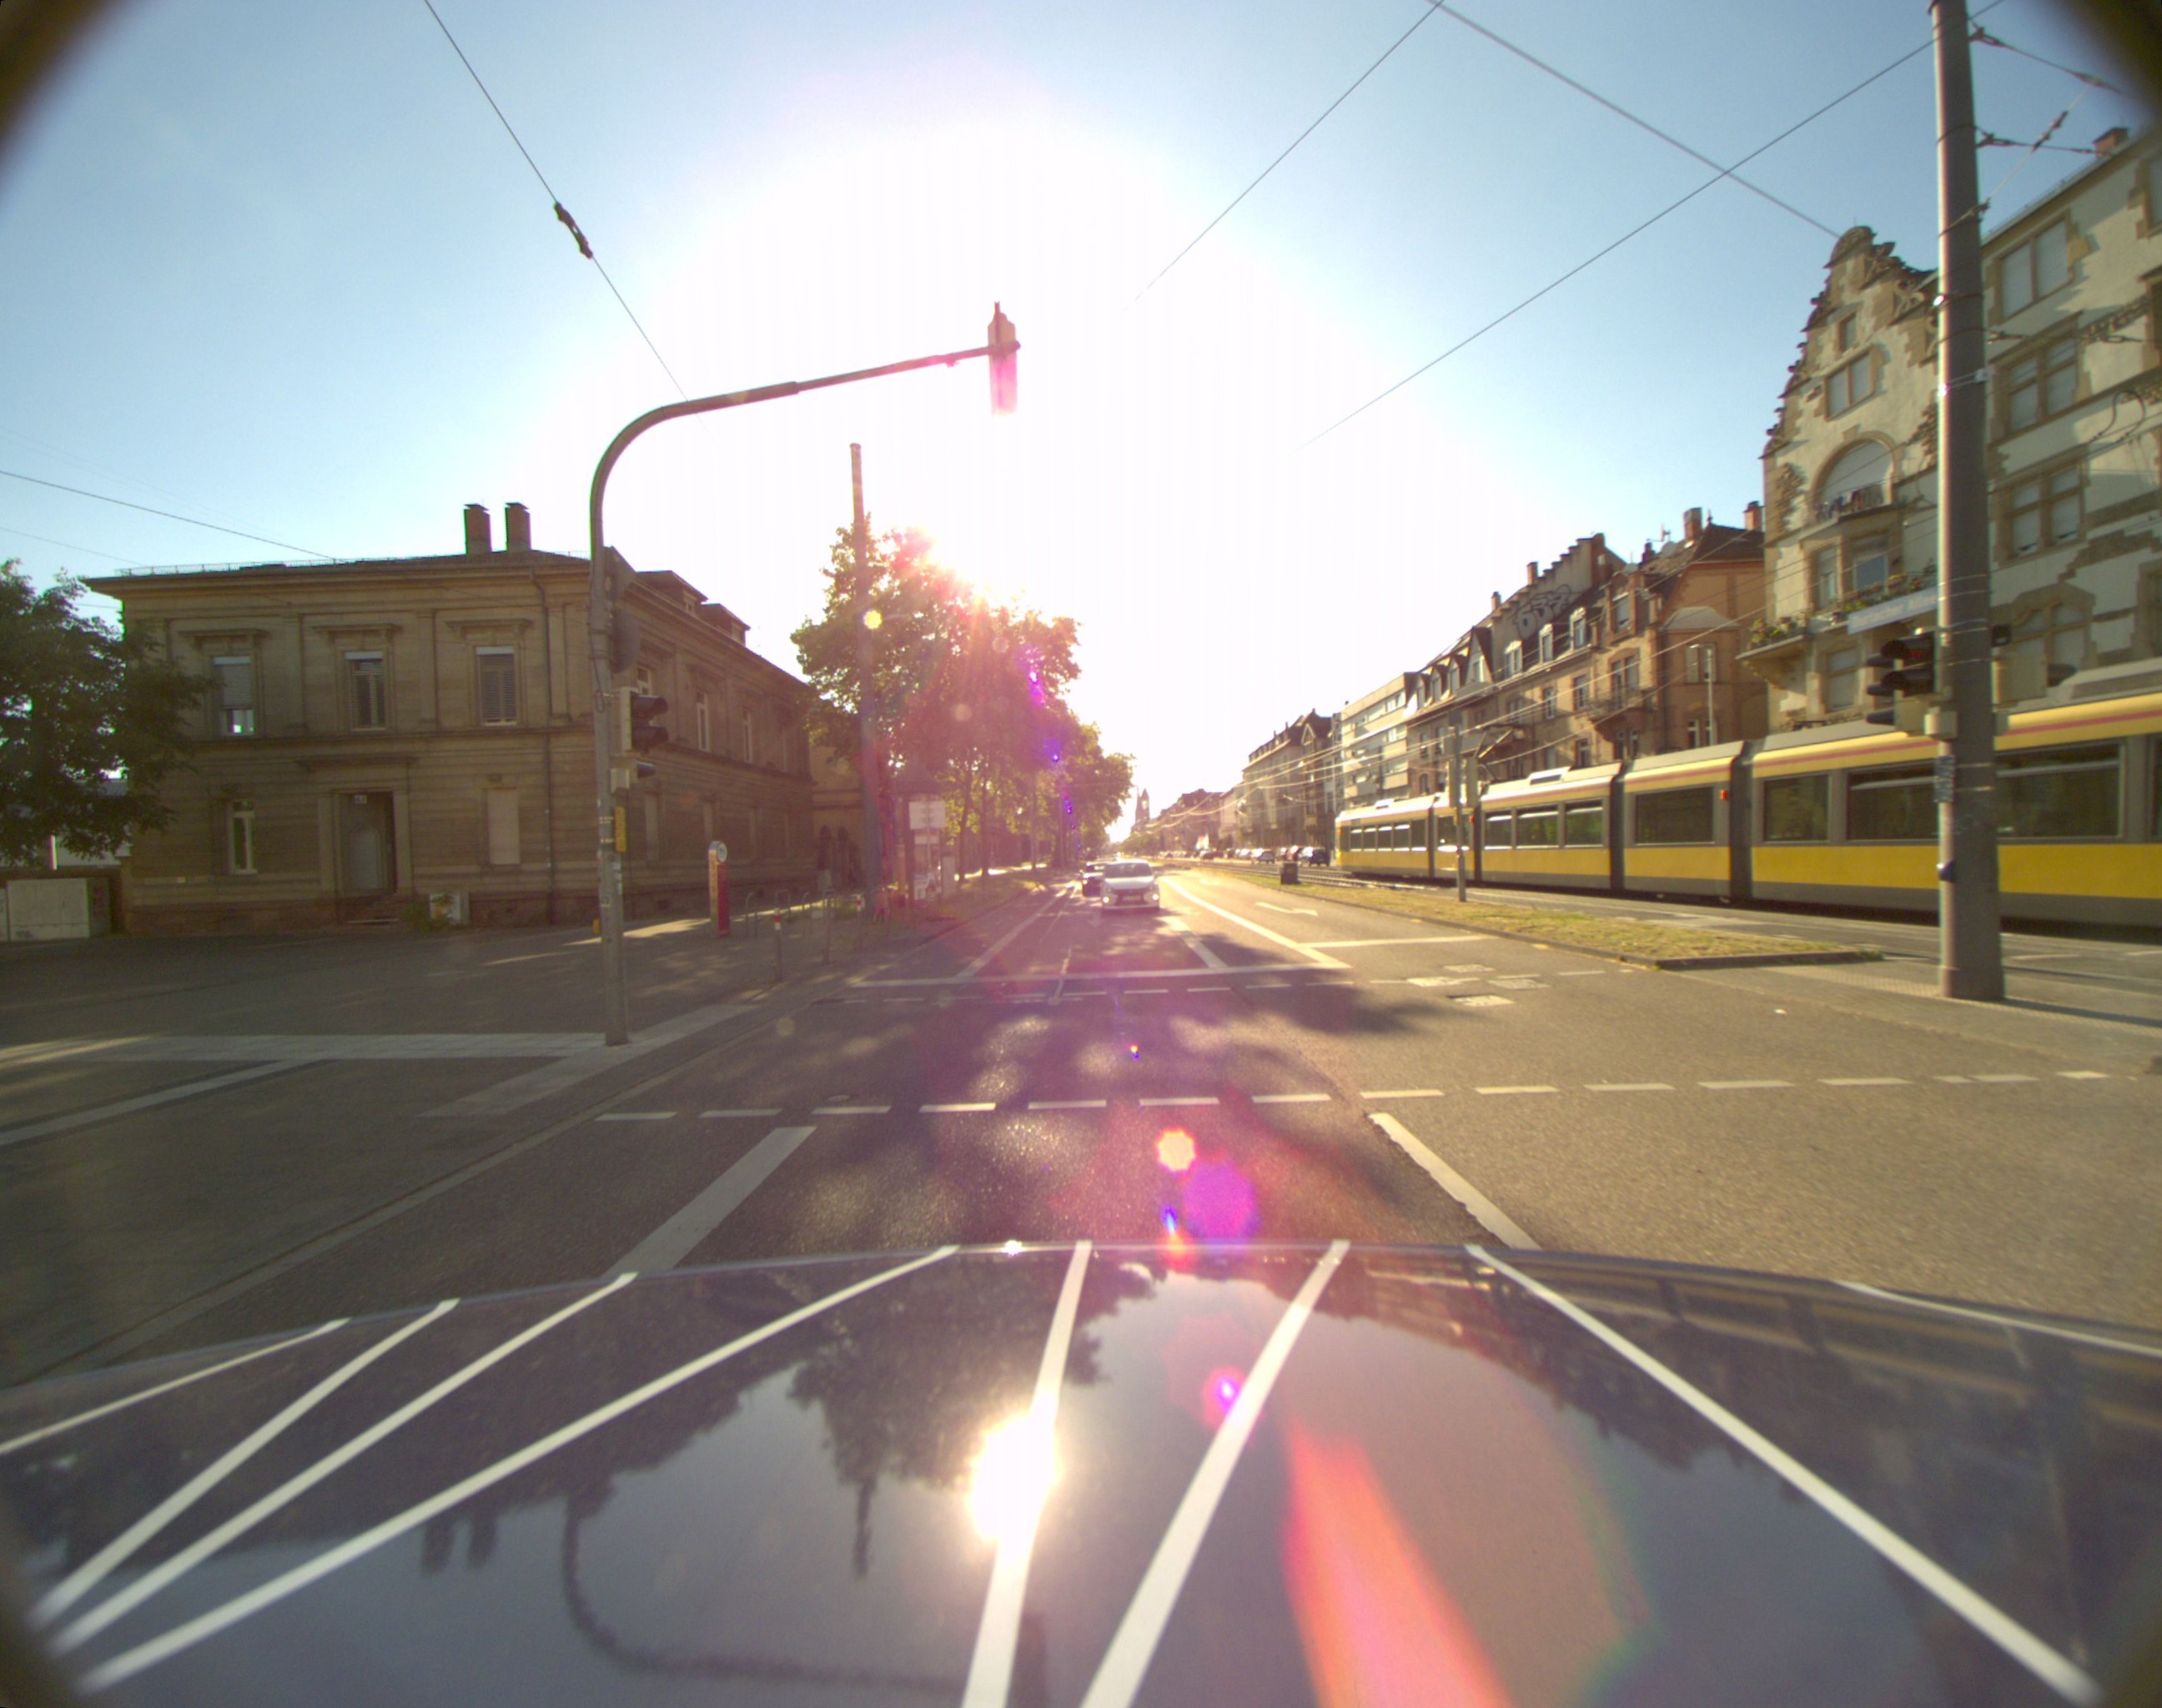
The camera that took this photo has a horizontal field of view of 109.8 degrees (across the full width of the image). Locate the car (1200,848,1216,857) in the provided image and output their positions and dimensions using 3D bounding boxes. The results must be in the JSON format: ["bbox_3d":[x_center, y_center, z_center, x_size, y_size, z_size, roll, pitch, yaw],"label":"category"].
[{"bbox_3d":[20.243,-0.267,120.985,1.824,1.448,4.165,-2,0,0],"label":"car"}]

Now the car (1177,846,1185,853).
[{"bbox_3d":[26.541,-1.224,202.168,1.624,1.581,3.450,-3,1,1],"label":"car"}]

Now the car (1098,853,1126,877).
[{"bbox_3d":[2.152,0.717,53.618,1.833,1.543,4.000,-2,1,2],"label":"car"}]

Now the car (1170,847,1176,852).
[{"bbox_3d":[28.076,-1.373,231.778,1.624,1.581,3.450,-3,1,1],"label":"car"}]

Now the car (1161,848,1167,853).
[{"bbox_3d":[27.917,-1.326,255.518,1.624,1.581,3.450,-3,1,1],"label":"car"}]

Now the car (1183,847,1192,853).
[{"bbox_3d":[27.063,-1.046,193.305,1.624,1.581,3.450,-3,1,1],"label":"car"}]

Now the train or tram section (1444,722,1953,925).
[{"bbox_3d":[13.995,-0.572,19.943,2.820,3.469,13.203,-2,0,1],"label":"train or tram section"}]

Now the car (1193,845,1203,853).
[{"bbox_3d":[26.573,-1.085,172.200,1.727,1.776,3.881,-3,1,1],"label":"car"}]

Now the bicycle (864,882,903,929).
[{"bbox_3d":[-4.968,1.281,19.208,0.541,1.055,1.771,-2,0,-2],"label":"bicycle"}]

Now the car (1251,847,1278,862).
[{"bbox_3d":[19.169,-0.003,79.447,1.824,1.448,4.540,-2,0,2],"label":"car"}]

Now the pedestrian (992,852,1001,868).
[{"bbox_3d":[-8.541,0.588,76.755,0.672,1.652,0.874,-1,1,2],"label":"pedestrian"}]

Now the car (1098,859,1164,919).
[{"bbox_3d":[1.415,0.966,22.558,1.686,1.462,4.055,-3,0,2],"label":"car"}]

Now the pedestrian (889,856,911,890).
[{"bbox_3d":[-9.240,0.949,38.890,0.771,1.699,1.042,-2,1,3],"label":"pedestrian"}]

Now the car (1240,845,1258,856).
[{"bbox_3d":[25.214,-0.527,114.091,1.642,1.438,3.538,-3,0,-6],"label":"car"}]

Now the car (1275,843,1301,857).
[{"bbox_3d":[25.226,-0.492,92.724,1.756,1.487,3.728,-4,0,-5],"label":"car"}]

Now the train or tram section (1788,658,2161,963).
[{"bbox_3d":[13.660,-0.522,7.163,2.820,3.469,12.153,-2,0,1],"label":"train or tram section"}]

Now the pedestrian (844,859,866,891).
[{"bbox_3d":[-11.682,1.088,39.283,0.771,1.597,0.986,-2,1,3],"label":"pedestrian"}]

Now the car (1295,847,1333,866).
[{"bbox_3d":[18.588,0.196,60.703,1.824,1.448,4.157,-2,0,2],"label":"car"}]

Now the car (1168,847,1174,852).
[{"bbox_3d":[28.054,-1.410,236.700,1.624,1.581,3.450,-3,1,1],"label":"car"}]

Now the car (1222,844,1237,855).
[{"bbox_3d":[25.490,-0.761,130.484,1.875,1.726,3.915,-3,0,2],"label":"car"}]

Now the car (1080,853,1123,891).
[{"bbox_3d":[0.904,0.749,33.284,1.686,1.462,4.055,-3,0,2],"label":"car"}]

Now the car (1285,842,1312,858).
[{"bbox_3d":[25.050,-0.495,87.608,1.860,1.677,4.263,-4,0,2],"label":"car"}]

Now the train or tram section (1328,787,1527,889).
[{"bbox_3d":[14.279,-0.585,33.166,2.820,3.469,13.203,-2,0,1],"label":"train or tram section"}]
